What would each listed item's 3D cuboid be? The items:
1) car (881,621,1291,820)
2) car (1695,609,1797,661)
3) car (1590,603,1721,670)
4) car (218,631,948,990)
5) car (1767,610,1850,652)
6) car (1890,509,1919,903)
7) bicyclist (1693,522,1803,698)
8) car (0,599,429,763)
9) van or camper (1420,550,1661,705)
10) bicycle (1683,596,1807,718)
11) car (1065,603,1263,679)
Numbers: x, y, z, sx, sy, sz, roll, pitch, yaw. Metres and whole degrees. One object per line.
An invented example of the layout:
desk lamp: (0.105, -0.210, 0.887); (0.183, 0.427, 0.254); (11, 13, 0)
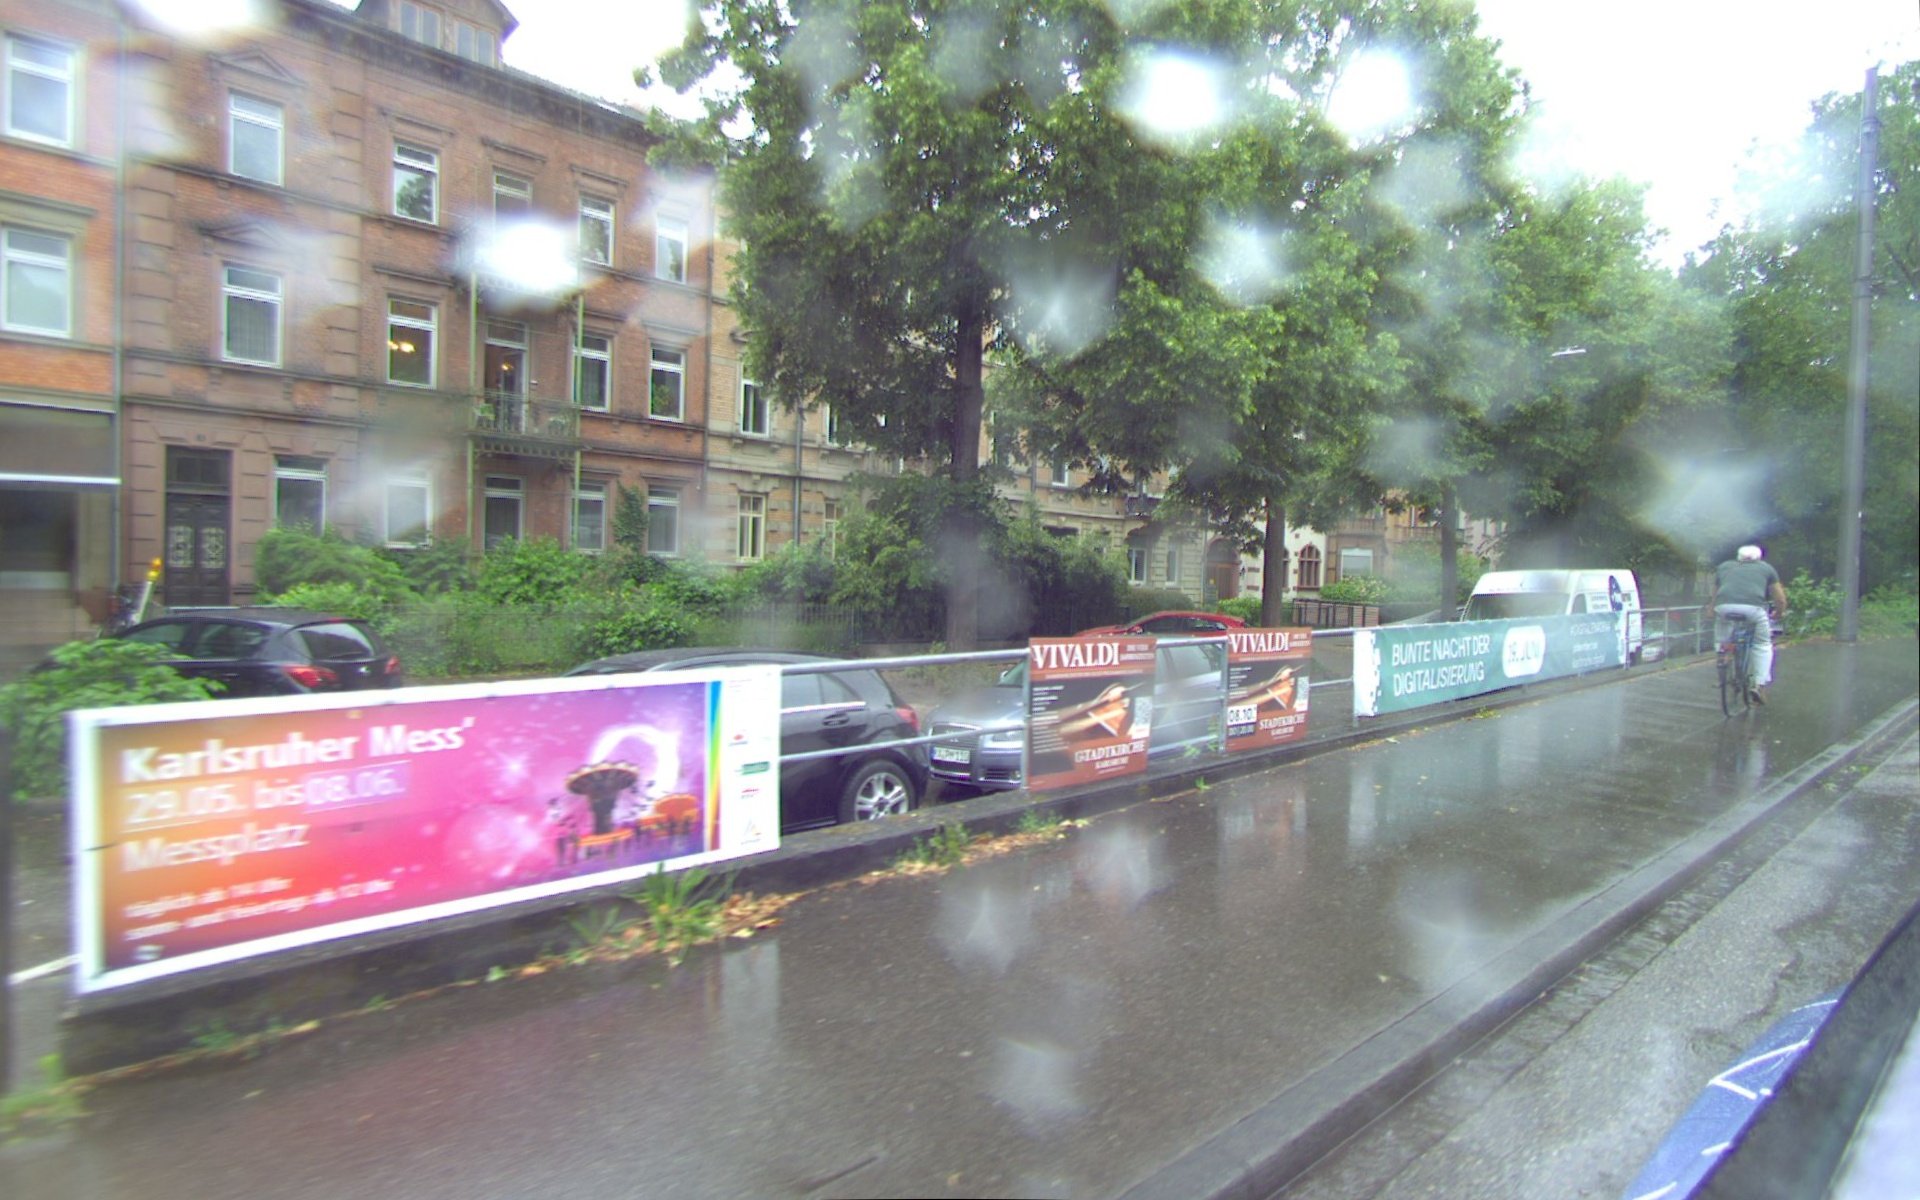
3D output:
car: (1.397, 1.004, 10.105); (4.141, 1.488, 1.730); (0, 1, -40)
car: (23.753, 0.995, 30.537); (3.930, 1.389, 1.702); (-1, 1, -41)
car: (16.958, 0.818, 24.605); (4.142, 1.365, 1.629); (-1, 2, -40)
car: (-2.222, 1.020, 6.629); (4.142, 1.482, 1.749); (0, 1, -41)
car: (32.453, 1.151, 38.687); (3.930, 1.473, 1.808); (0, 1, -41)
car: (6.389, 0.471, 5.049); (4.595, 1.667, 1.913); (0, 1, -39)
bicyclist: (7.939, 0.079, 10.191); (0.736, 1.676, 0.863); (2, 1, 44)
car: (-8.256, 0.788, 11.237); (3.940, 1.527, 1.853); (1, 0, 13)
van or camper: (11.619, 0.443, 20.016); (5.991, 2.623, 2.330); (0, 1, -42)
bicycle: (7.898, 0.521, 10.147); (0.738, 1.086, 1.836); (3, 2, 45)
car: (4.639, 0.876, 22.904); (4.230, 1.488, 1.700); (1, 1, 18)
